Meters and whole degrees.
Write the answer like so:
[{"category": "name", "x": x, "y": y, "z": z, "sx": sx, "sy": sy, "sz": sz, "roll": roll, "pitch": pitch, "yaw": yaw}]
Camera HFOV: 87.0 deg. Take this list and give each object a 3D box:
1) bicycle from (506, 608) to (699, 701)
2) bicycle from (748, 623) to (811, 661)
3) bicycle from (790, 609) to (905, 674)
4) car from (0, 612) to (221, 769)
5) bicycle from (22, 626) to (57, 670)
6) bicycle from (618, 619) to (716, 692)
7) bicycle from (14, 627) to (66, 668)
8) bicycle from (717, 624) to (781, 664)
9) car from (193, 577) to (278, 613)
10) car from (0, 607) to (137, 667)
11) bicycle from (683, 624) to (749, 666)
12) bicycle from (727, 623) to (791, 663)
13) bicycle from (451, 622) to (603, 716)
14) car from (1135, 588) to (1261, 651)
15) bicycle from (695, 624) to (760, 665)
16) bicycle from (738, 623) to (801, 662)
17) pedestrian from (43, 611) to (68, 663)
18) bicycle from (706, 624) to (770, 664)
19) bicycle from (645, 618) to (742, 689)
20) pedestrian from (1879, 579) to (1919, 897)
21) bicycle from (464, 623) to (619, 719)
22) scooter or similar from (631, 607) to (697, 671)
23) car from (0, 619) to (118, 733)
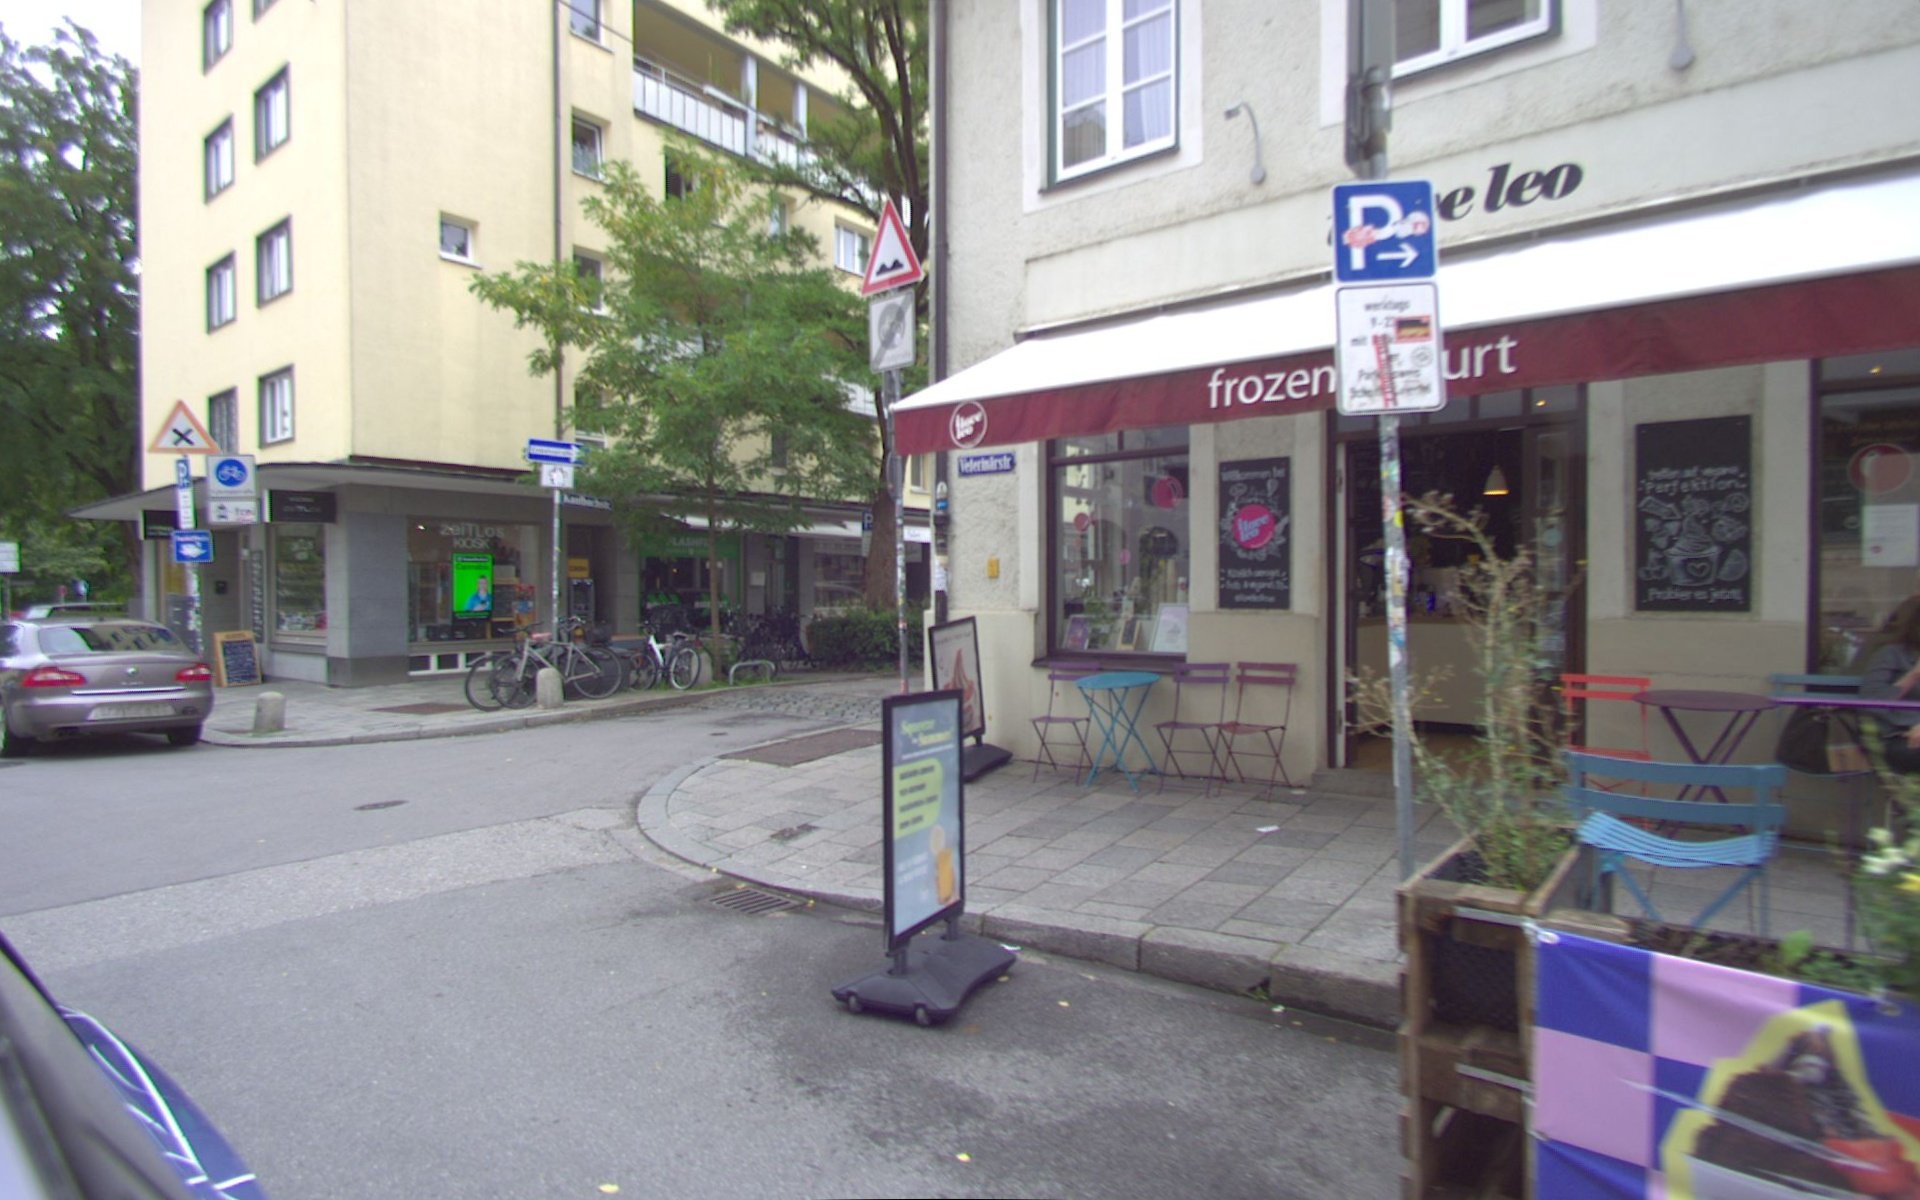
[{"category": "bicycle", "x": -5.566, "y": 0.797, "z": 15.960, "sx": 0.817, "sy": 1.220, "sz": 2.813, "roll": 1, "pitch": 2, "yaw": 41}, {"category": "bicycle", "x": -4.007, "y": 0.918, "z": 22.421, "sx": 1.720, "sy": 0.786, "sz": 0.289, "roll": 1, "pitch": 0, "yaw": 37}, {"category": "bicycle", "x": -2.226, "y": 0.804, "z": 20.319, "sx": 0.817, "sy": 1.221, "sz": 2.341, "roll": 1, "pitch": -1, "yaw": 41}, {"category": "car", "x": -10.449, "y": 0.908, "z": 11.712, "sx": 4.940, "sy": 1.482, "sz": 1.664, "roll": -1, "pitch": -2, "yaw": 36}, {"category": "bicycle", "x": -27.128, "y": 1.385, "z": 29.815, "sx": 1.853, "sy": 1.219, "sz": 0.556, "roll": -1, "pitch": 1, "yaw": 42}, {"category": "bicycle", "x": -4.297, "y": 0.791, "z": 14.776, "sx": 1.712, "sy": 0.973, "sz": 0.376, "roll": 0, "pitch": 2, "yaw": 36}, {"category": "bicycle", "x": -28.643, "y": 1.457, "z": 31.538, "sx": 0.573, "sy": 1.134, "sz": 2.305, "roll": -2, "pitch": 1, "yaw": -27}, {"category": "bicycle", "x": -4.543, "y": 0.921, "z": 21.704, "sx": 1.720, "sy": 0.786, "sz": 0.289, "roll": 1, "pitch": 0, "yaw": 37}, {"category": "car", "x": -45.002, "y": -0.352, "z": 62.990, "sx": 3.900, "sy": 2.120, "sz": 1.911, "roll": -1, "pitch": 1, "yaw": -20}, {"category": "car", "x": -32.980, "y": 1.282, "z": 36.775, "sx": 1.924, "sy": 2.016, "sz": 4.385, "roll": 0, "pitch": 0, "yaw": 24}, {"category": "bicycle", "x": -5.072, "y": 0.924, "z": 20.980, "sx": 1.720, "sy": 0.786, "sz": 0.289, "roll": 1, "pitch": 0, "yaw": 37}, {"category": "bicycle", "x": -4.365, "y": 0.920, "z": 21.948, "sx": 1.720, "sy": 0.786, "sz": 0.289, "roll": 1, "pitch": 0, "yaw": 37}, {"category": "bicycle", "x": -5.609, "y": 0.867, "z": 13.203, "sx": 0.391, "sy": 1.042, "sz": 1.799, "roll": -2, "pitch": 1, "yaw": 41}, {"category": "car", "x": 6.935, "y": 0.535, "z": 29.214, "sx": 1.774, "sy": 1.608, "sz": 4.111, "roll": -5, "pitch": -3, "yaw": 40}, {"category": "bicycle", "x": -4.894, "y": 0.917, "z": 21.215, "sx": 1.720, "sy": 0.786, "sz": 0.289, "roll": 1, "pitch": 0, "yaw": 37}, {"category": "bicycle", "x": -4.190, "y": 0.919, "z": 22.183, "sx": 1.720, "sy": 0.786, "sz": 0.289, "roll": 1, "pitch": 0, "yaw": 37}, {"category": "pedestrian", "x": -31.895, "y": 1.299, "z": 35.702, "sx": 0.552, "sy": 1.812, "sz": 0.642, "roll": -1, "pitch": -2, "yaw": -33}, {"category": "bicycle", "x": -4.719, "y": 0.922, "z": 21.462, "sx": 1.720, "sy": 0.786, "sz": 0.289, "roll": 1, "pitch": 0, "yaw": 37}, {"category": "bicycle", "x": -4.015, "y": 0.787, "z": 15.178, "sx": 1.712, "sy": 0.973, "sz": 0.376, "roll": 0, "pitch": 2, "yaw": 36}, {"category": "pedestrian", "x": 4.380, "y": 0.564, "z": 4.262, "sx": 0.693, "sy": 1.299, "sz": 0.795, "roll": 1, "pitch": 0, "yaw": 39}, {"category": "bicycle", "x": -5.307, "y": 0.871, "z": 12.935, "sx": 0.391, "sy": 1.042, "sz": 1.799, "roll": -2, "pitch": 1, "yaw": 41}, {"category": "scooter or similar", "x": -5.862, "y": 0.749, "z": 20.101, "sx": 0.985, "sy": 1.210, "sz": 1.204, "roll": 0, "pitch": 0, "yaw": -2}, {"category": "car", "x": -13.876, "y": 1.036, "z": 14.821, "sx": 4.093, "sy": 1.482, "sz": 1.662, "roll": -1, "pitch": -2, "yaw": 40}]
